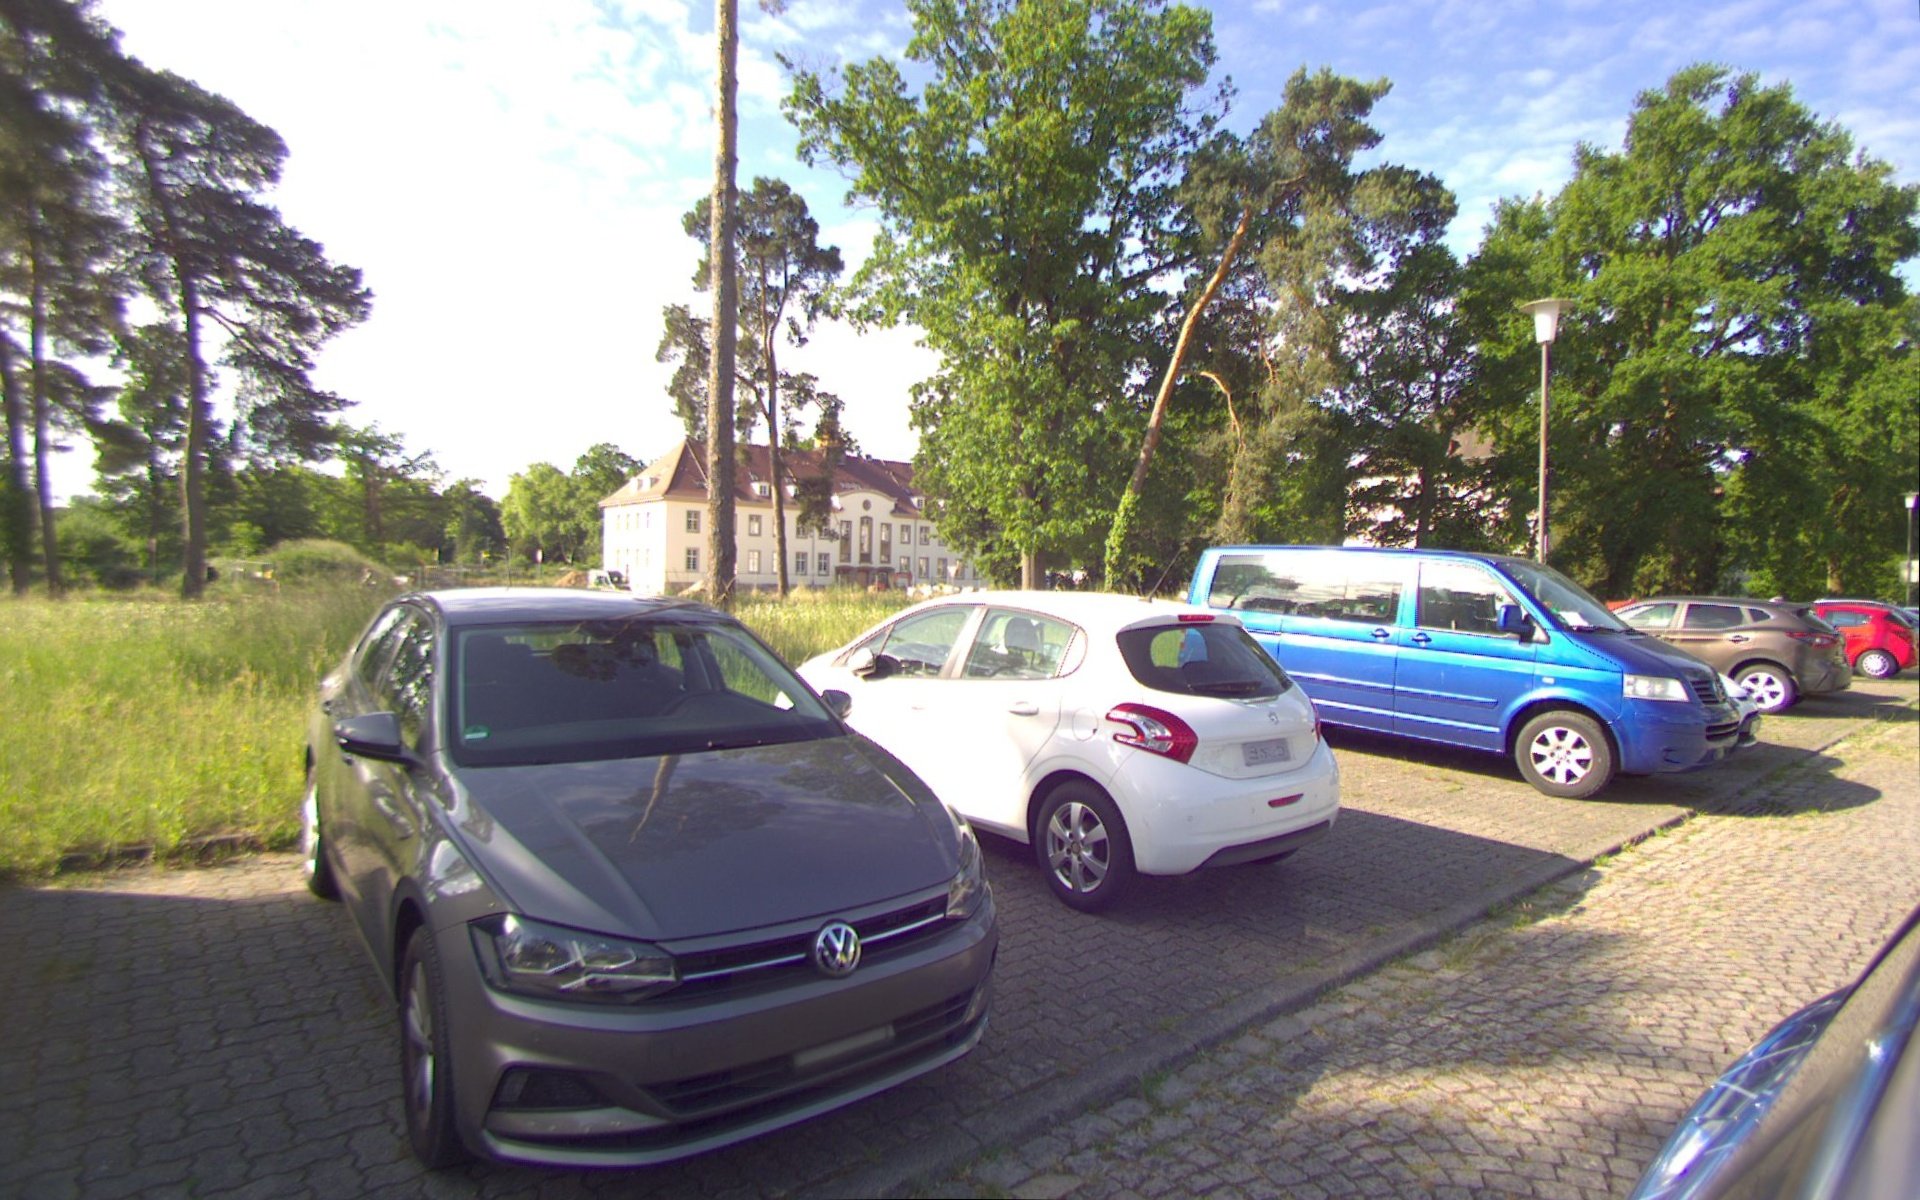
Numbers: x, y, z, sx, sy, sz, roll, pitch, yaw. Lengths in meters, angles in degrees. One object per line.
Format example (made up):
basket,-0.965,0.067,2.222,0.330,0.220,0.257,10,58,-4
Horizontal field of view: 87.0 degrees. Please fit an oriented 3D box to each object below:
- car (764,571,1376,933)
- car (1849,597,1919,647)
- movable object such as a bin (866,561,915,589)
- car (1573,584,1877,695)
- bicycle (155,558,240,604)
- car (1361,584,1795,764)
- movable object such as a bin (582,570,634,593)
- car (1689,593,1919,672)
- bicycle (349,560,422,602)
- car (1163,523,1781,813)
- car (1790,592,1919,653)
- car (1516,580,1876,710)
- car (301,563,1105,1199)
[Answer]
car,0.407,0.606,6.222,1.605,1.510,3.653,0,2,-40
car,30.114,0.695,31.240,1.715,1.484,3.808,0,1,-39
movable object such as a bin,-7.668,-2.773,111.687,4.974,2.937,2.182,0,1,-34
car,12.922,0.574,17.280,1.673,1.557,3.834,0,2,-40
bicycle,-35.569,-0.915,47.265,3.078,2.038,0.952,-2,3,-42
car,6.572,0.648,11.063,1.582,1.485,3.726,0,3,-42
movable object such as a bin,-33.456,-1.781,96.136,5.713,2.039,2.092,2,1,40
car,18.496,0.640,22.043,1.513,1.514,3.994,0,1,-40
bicycle,-29.294,-0.992,51.661,3.078,2.038,0.952,-2,3,-42
car,4.464,0.341,9.566,1.964,2.038,4.766,0,3,-40
car,26.275,0.627,28.495,1.622,1.618,4.271,0,1,-40
car,10.966,0.557,15.317,1.755,1.631,4.114,0,2,-41
car,-1.416,0.643,4.076,1.726,1.468,3.791,0,2,-38
